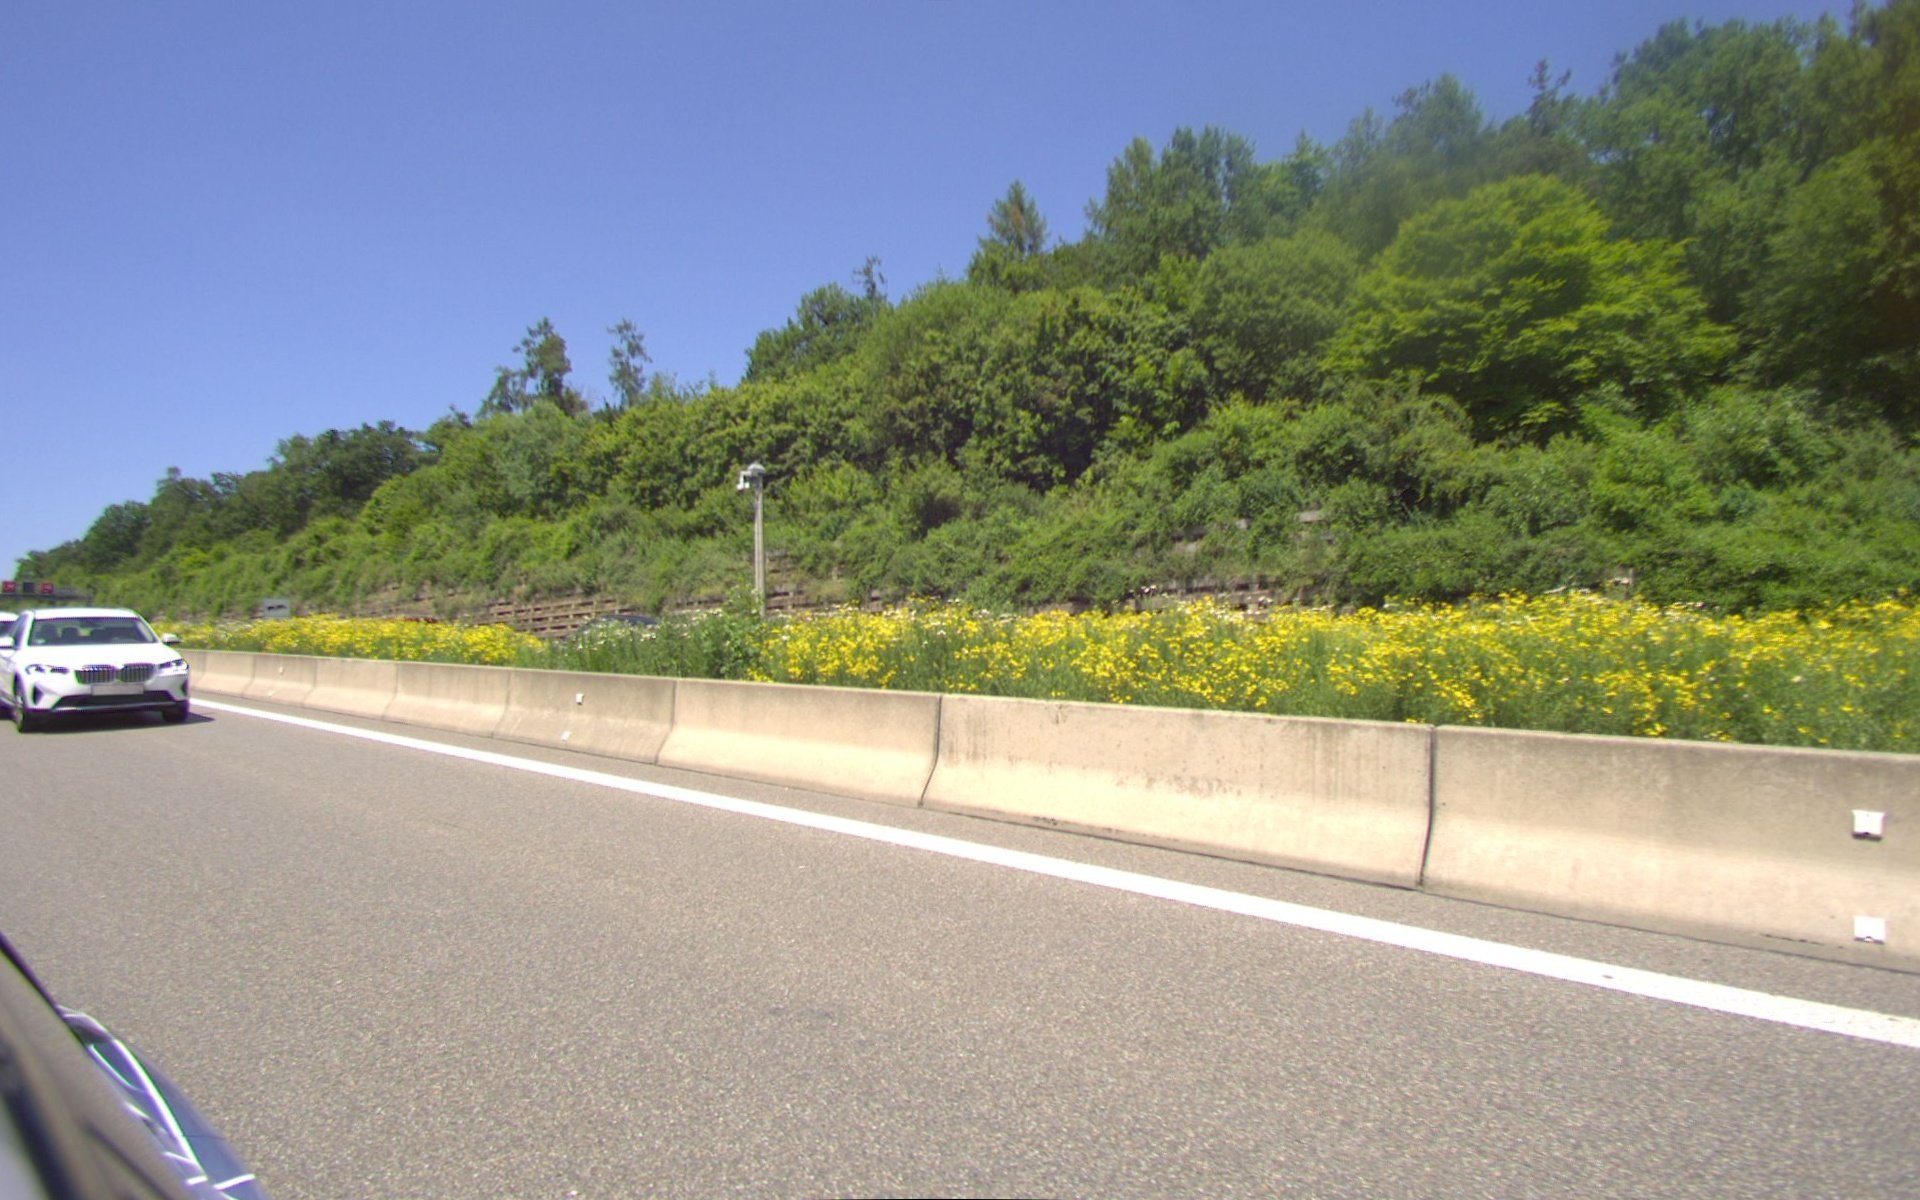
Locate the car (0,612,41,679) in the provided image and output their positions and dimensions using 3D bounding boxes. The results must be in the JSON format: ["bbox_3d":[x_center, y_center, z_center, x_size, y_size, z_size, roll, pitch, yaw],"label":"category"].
[{"bbox_3d":[-27.692,1.320,28.692,4.500,1.788,1.972,-3,-1,42],"label":"car"}]

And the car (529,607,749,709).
[{"bbox_3d":[-6.305,1.019,19.572,4.895,1.702,1.830,-1,1,42],"label":"car"}]

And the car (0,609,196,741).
[{"bbox_3d":[-13.004,0.998,14.983,4.365,1.656,1.826,-2,-1,41],"label":"car"}]

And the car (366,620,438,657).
[{"bbox_3d":[-30.052,2.018,54.486,4.653,1.821,1.972,-1,1,42],"label":"car"}]
